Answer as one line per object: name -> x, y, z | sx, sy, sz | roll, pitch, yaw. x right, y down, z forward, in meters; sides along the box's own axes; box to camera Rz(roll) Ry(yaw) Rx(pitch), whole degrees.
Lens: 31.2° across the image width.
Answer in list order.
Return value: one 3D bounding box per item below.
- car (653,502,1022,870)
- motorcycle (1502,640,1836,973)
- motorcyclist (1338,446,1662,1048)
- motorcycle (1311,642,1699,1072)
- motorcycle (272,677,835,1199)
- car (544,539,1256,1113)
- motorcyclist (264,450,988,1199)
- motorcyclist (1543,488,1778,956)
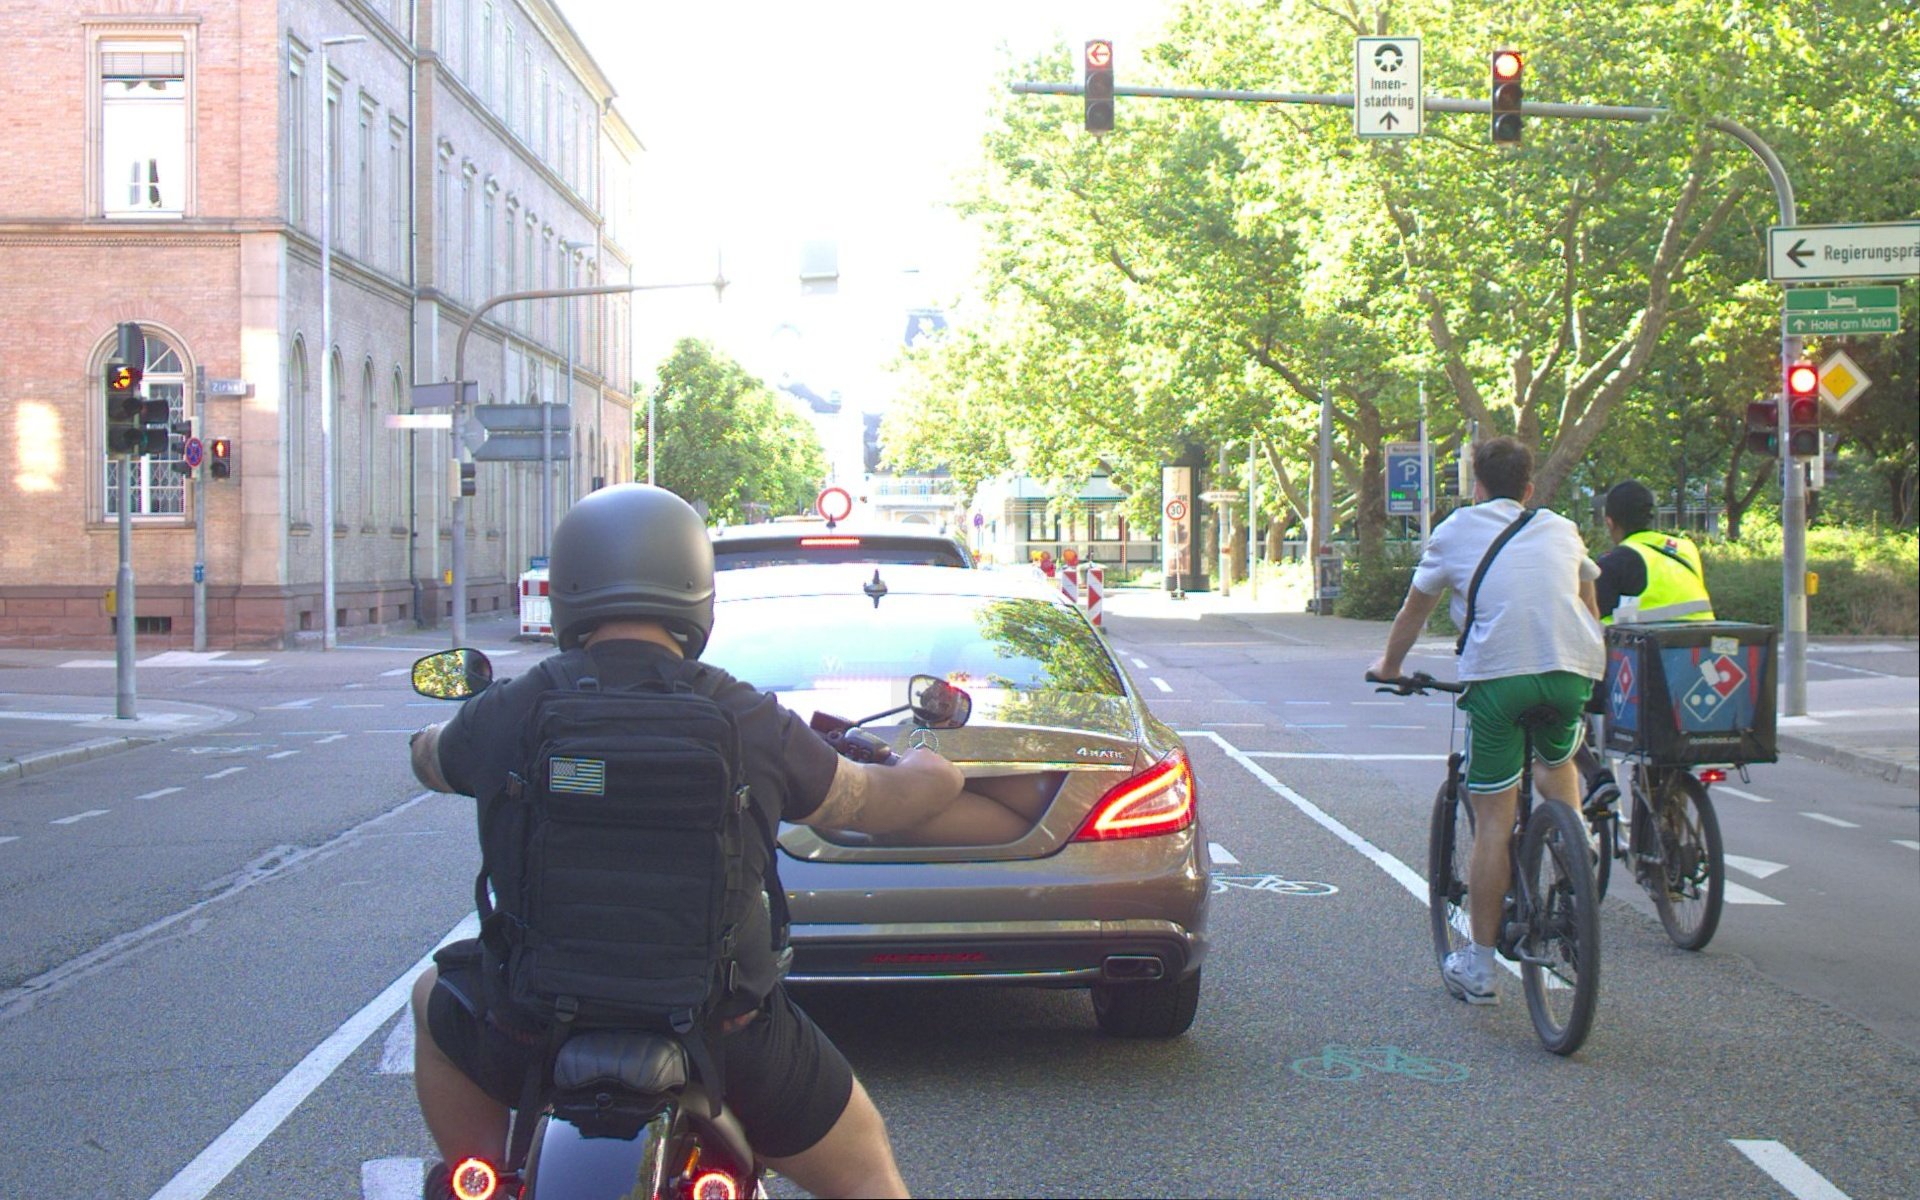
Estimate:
car -> -0.577, 0.371, 17.605 | 1.651, 1.646, 4.000 | 1, 1, -1
motorcycle -> 2.704, 0.749, 13.375 | 0.797, 1.128, 2.236 | 1, 1, -1
motorcyclist -> 1.658, 0.433, 10.693 | 0.831, 1.782, 0.913 | 1, 0, -1
motorcycle -> 1.642, 0.741, 10.699 | 0.863, 1.164, 1.930 | 1, 1, -1
motorcycle -> -0.561, 0.776, 5.422 | 0.660, 1.236, 2.058 | 1, 1, -1
car -> -0.406, 0.569, 11.127 | 1.824, 1.481, 4.334 | 1, 1, -7
motorcyclist -> -0.473, 0.597, 5.327 | 0.990, 1.605, 1.120 | 1, 0, -1
motorcyclist -> 2.679, 0.453, 13.213 | 0.717, 1.737, 0.751 | 1, 0, -1
